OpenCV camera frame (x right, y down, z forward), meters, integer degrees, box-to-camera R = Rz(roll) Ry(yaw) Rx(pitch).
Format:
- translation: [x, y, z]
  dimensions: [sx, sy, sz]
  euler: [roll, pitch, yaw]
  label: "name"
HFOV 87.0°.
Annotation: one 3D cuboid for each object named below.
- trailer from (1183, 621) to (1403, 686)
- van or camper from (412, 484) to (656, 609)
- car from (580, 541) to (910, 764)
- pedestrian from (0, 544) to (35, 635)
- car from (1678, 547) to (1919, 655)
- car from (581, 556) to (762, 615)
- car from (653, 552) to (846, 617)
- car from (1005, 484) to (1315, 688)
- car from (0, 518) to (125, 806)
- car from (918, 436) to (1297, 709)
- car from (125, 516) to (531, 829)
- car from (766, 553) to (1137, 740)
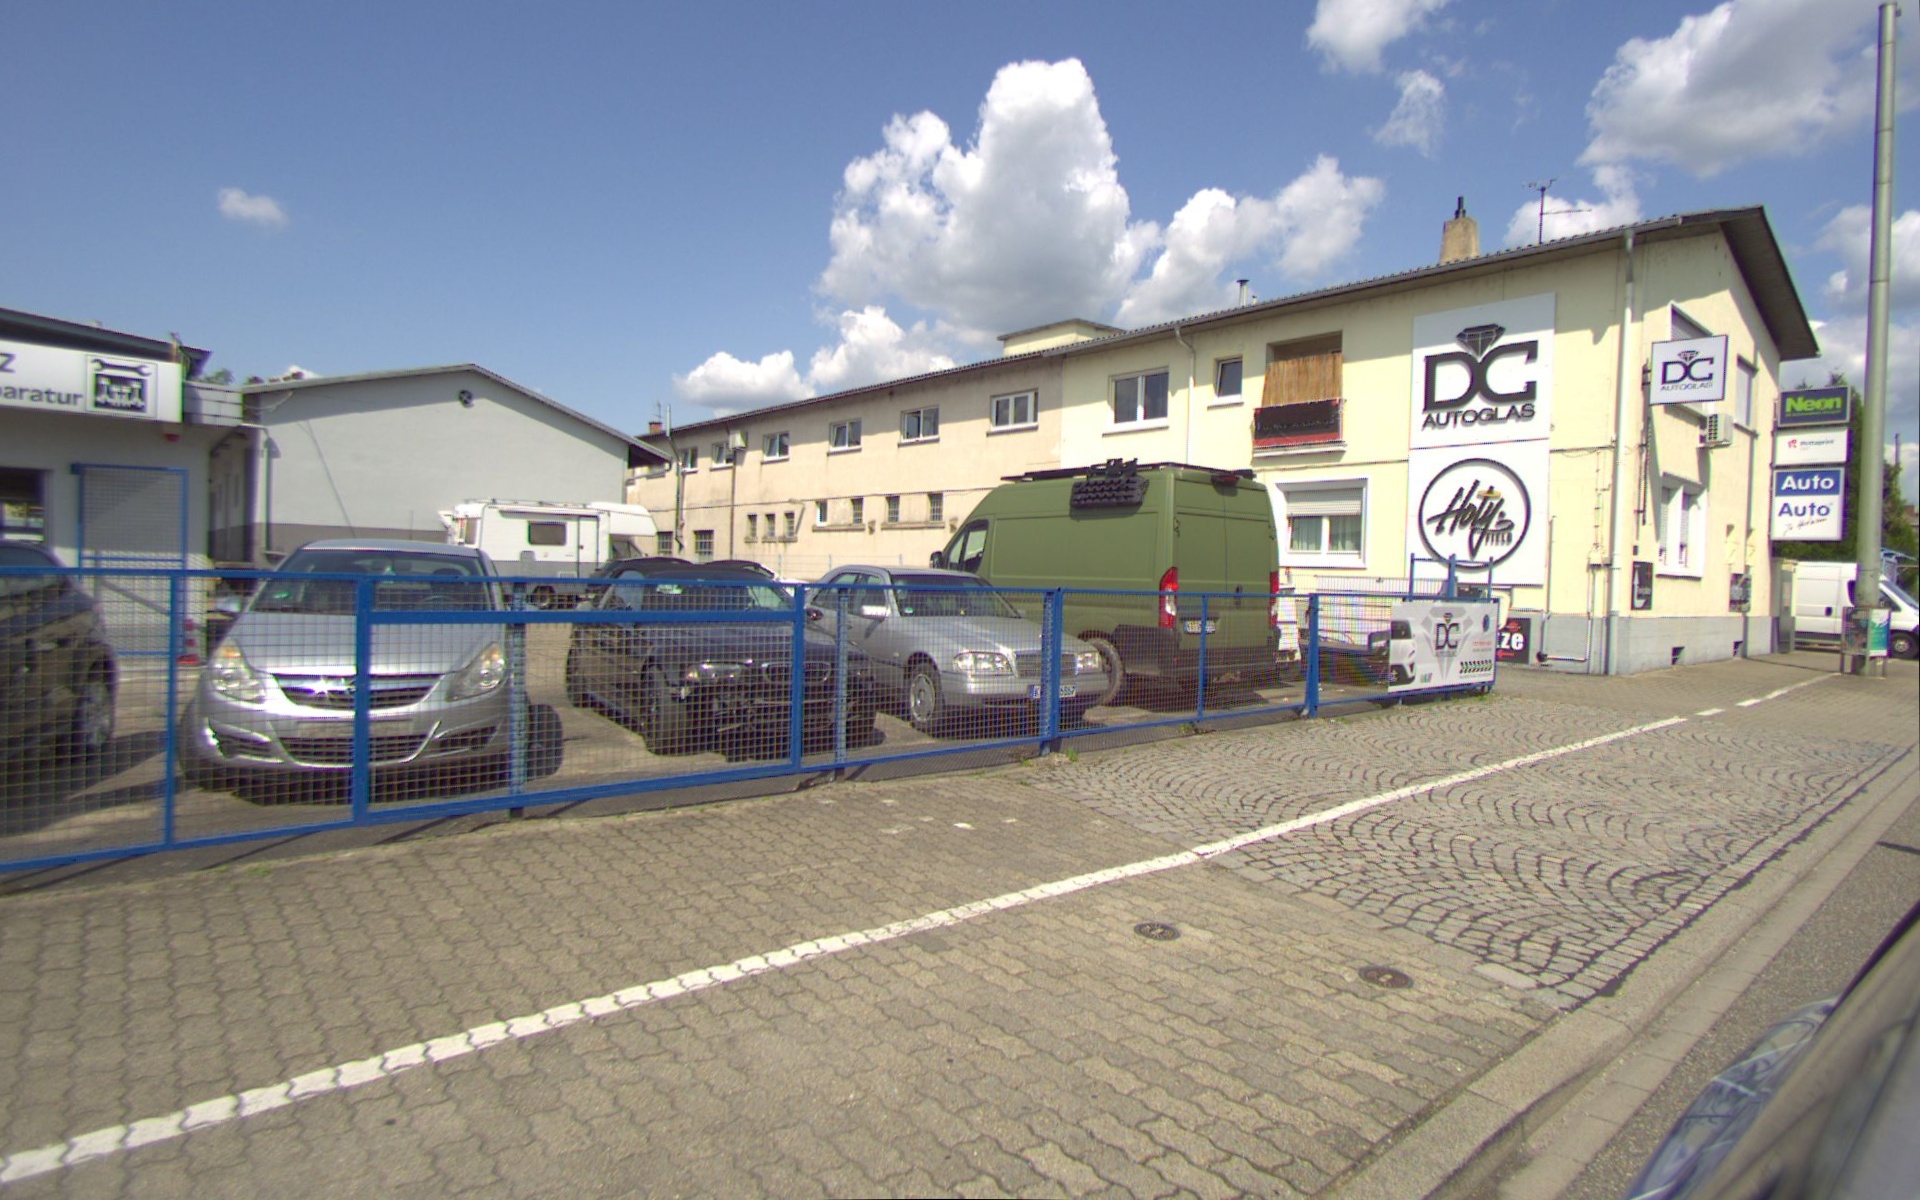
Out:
- translation: [4.758, 0.729, 14.645]
  dimensions: [1.307, 0.674, 2.730]
  euler: [0, 2, -42]
  label: "trailer"
- translation: [-11.294, -1.321, 27.106]
  dimensions: [5.556, 3.002, 2.272]
  euler: [0, 2, -42]
  label: "van or camper"
- translation: [-2.120, 0.277, 8.892]
  dimensions: [1.737, 1.470, 4.128]
  euler: [1, 2, -28]
  label: "car"
- translation: [-13.152, -0.154, 13.877]
  dimensions: [0.652, 1.224, 0.566]
  euler: [1, 1, -39]
  label: "pedestrian"
- translation: [23.107, -0.039, 27.132]
  dimensions: [2.055, 2.493, 5.838]
  euler: [0, 4, -39]
  label: "car"
- translation: [-7.297, -0.355, 25.806]
  dimensions: [4.112, 1.378, 1.645]
  euler: [0, 2, -41]
  label: "car"
- translation: [-4.835, -0.345, 23.542]
  dimensions: [4.112, 1.378, 1.645]
  euler: [0, 2, -41]
  label: "car"
- translation: [2.629, -0.243, 14.219]
  dimensions: [1.557, 2.436, 4.208]
  euler: [1, 2, -39]
  label: "car"
- translation: [-5.632, 0.307, 4.862]
  dimensions: [1.606, 1.470, 3.701]
  euler: [1, 2, -25]
  label: "car"
- translation: [1.596, -0.346, 12.250]
  dimensions: [2.075, 2.675, 4.208]
  euler: [1, 2, -39]
  label: "car"
- translation: [-3.890, 0.284, 6.835]
  dimensions: [1.736, 1.470, 3.778]
  euler: [1, 2, -24]
  label: "car"
- translation: [-0.330, 0.290, 10.197]
  dimensions: [1.679, 1.470, 4.292]
  euler: [1, 2, -33]
  label: "car"
